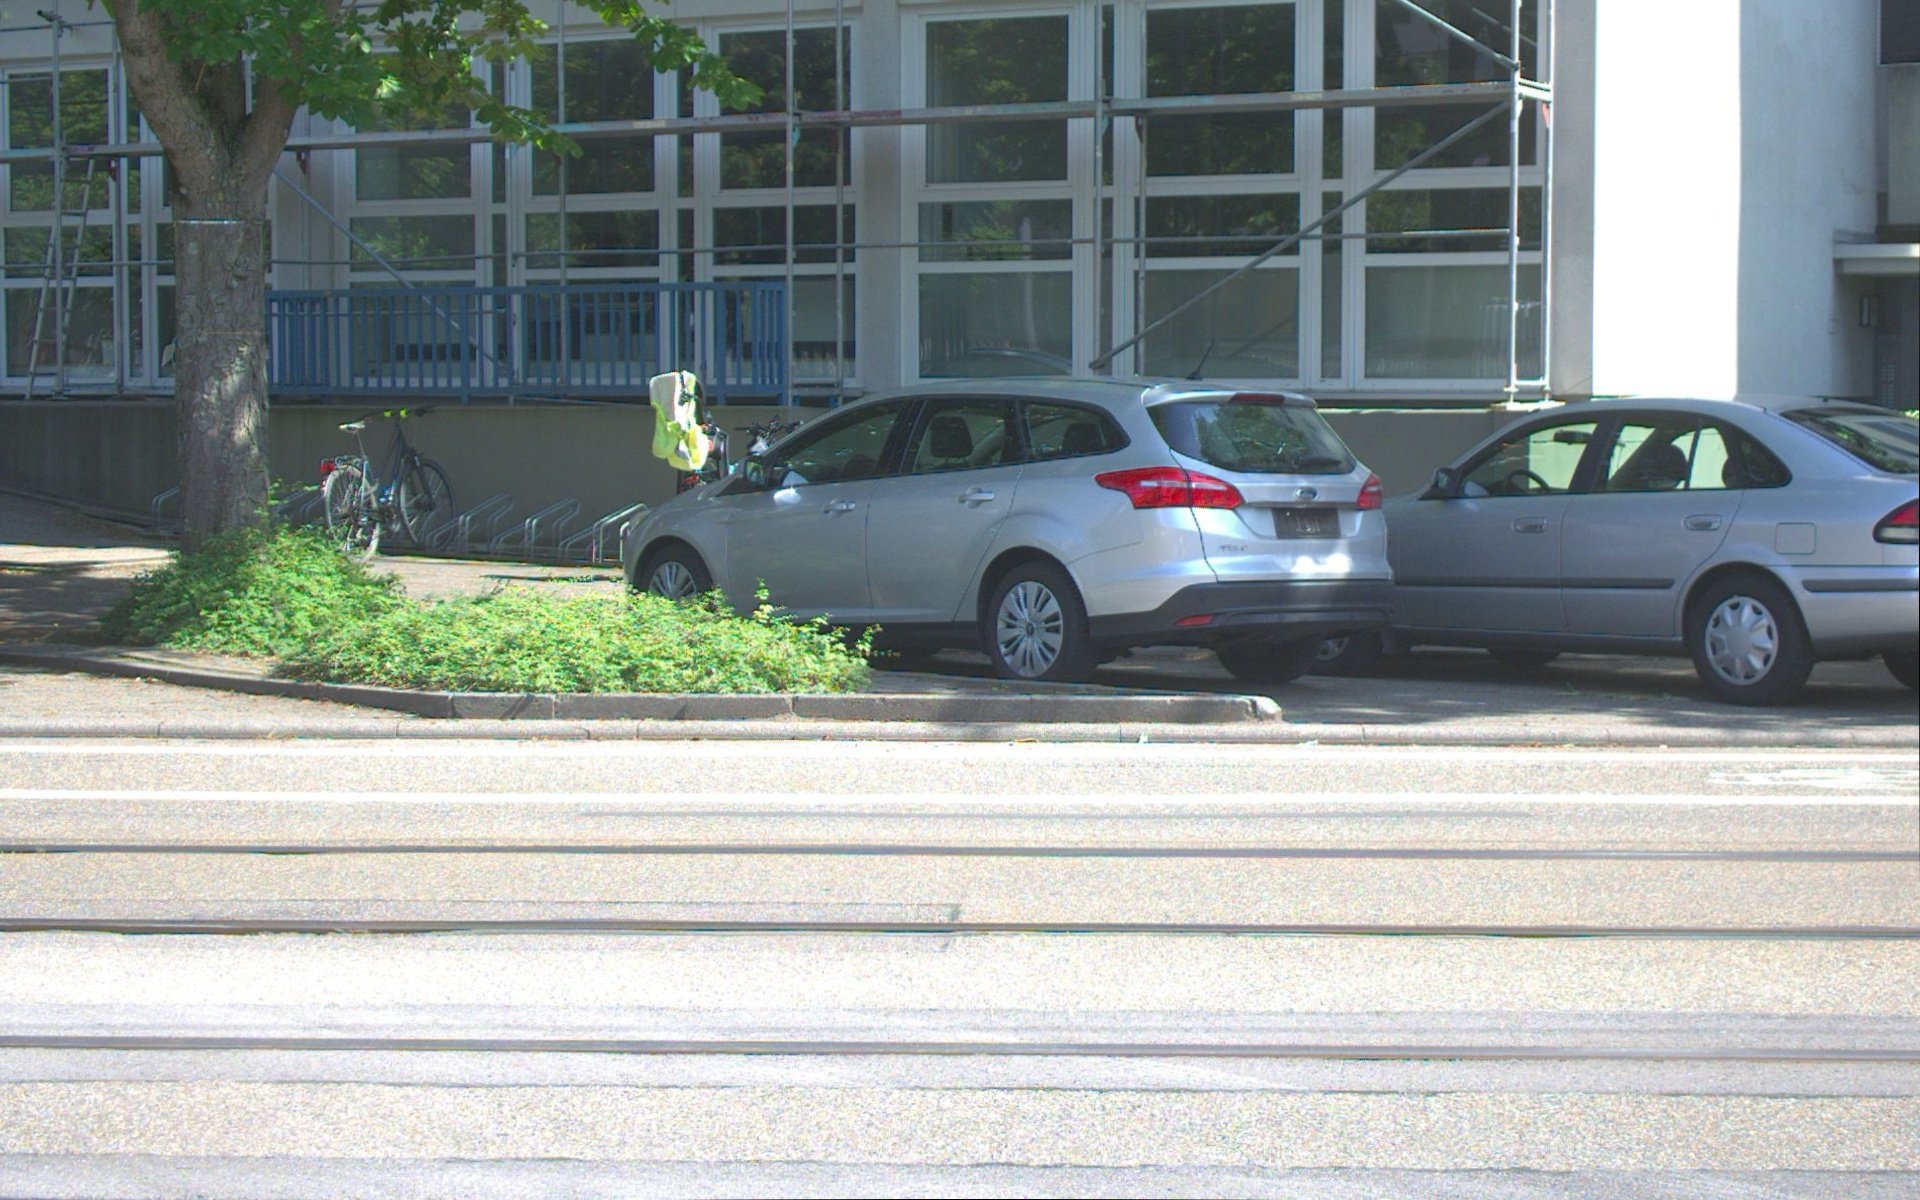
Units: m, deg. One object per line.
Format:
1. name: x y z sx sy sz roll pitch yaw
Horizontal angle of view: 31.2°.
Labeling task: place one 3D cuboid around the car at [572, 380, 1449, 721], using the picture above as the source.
1. car: 0.118 -0.347 17.122 1.780 1.481 4.434 -3 4 -43

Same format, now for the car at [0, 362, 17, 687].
1. car: -6.211 -0.407 16.940 1.572 1.525 3.457 -3 4 -43

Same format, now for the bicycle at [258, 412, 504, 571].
1. bicycle: -4.136 -0.807 24.749 0.742 1.082 2.201 1 3 20

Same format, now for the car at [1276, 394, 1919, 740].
1. car: 3.531 -0.250 16.698 1.608 1.481 3.944 -3 4 -41

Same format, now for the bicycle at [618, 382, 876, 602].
1. bicycle: -1.442 -0.768 23.712 0.662 1.448 2.086 2 4 33

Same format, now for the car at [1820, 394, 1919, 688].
1. car: 6.355 -0.282 16.817 1.609 1.481 3.943 -3 3 -42
